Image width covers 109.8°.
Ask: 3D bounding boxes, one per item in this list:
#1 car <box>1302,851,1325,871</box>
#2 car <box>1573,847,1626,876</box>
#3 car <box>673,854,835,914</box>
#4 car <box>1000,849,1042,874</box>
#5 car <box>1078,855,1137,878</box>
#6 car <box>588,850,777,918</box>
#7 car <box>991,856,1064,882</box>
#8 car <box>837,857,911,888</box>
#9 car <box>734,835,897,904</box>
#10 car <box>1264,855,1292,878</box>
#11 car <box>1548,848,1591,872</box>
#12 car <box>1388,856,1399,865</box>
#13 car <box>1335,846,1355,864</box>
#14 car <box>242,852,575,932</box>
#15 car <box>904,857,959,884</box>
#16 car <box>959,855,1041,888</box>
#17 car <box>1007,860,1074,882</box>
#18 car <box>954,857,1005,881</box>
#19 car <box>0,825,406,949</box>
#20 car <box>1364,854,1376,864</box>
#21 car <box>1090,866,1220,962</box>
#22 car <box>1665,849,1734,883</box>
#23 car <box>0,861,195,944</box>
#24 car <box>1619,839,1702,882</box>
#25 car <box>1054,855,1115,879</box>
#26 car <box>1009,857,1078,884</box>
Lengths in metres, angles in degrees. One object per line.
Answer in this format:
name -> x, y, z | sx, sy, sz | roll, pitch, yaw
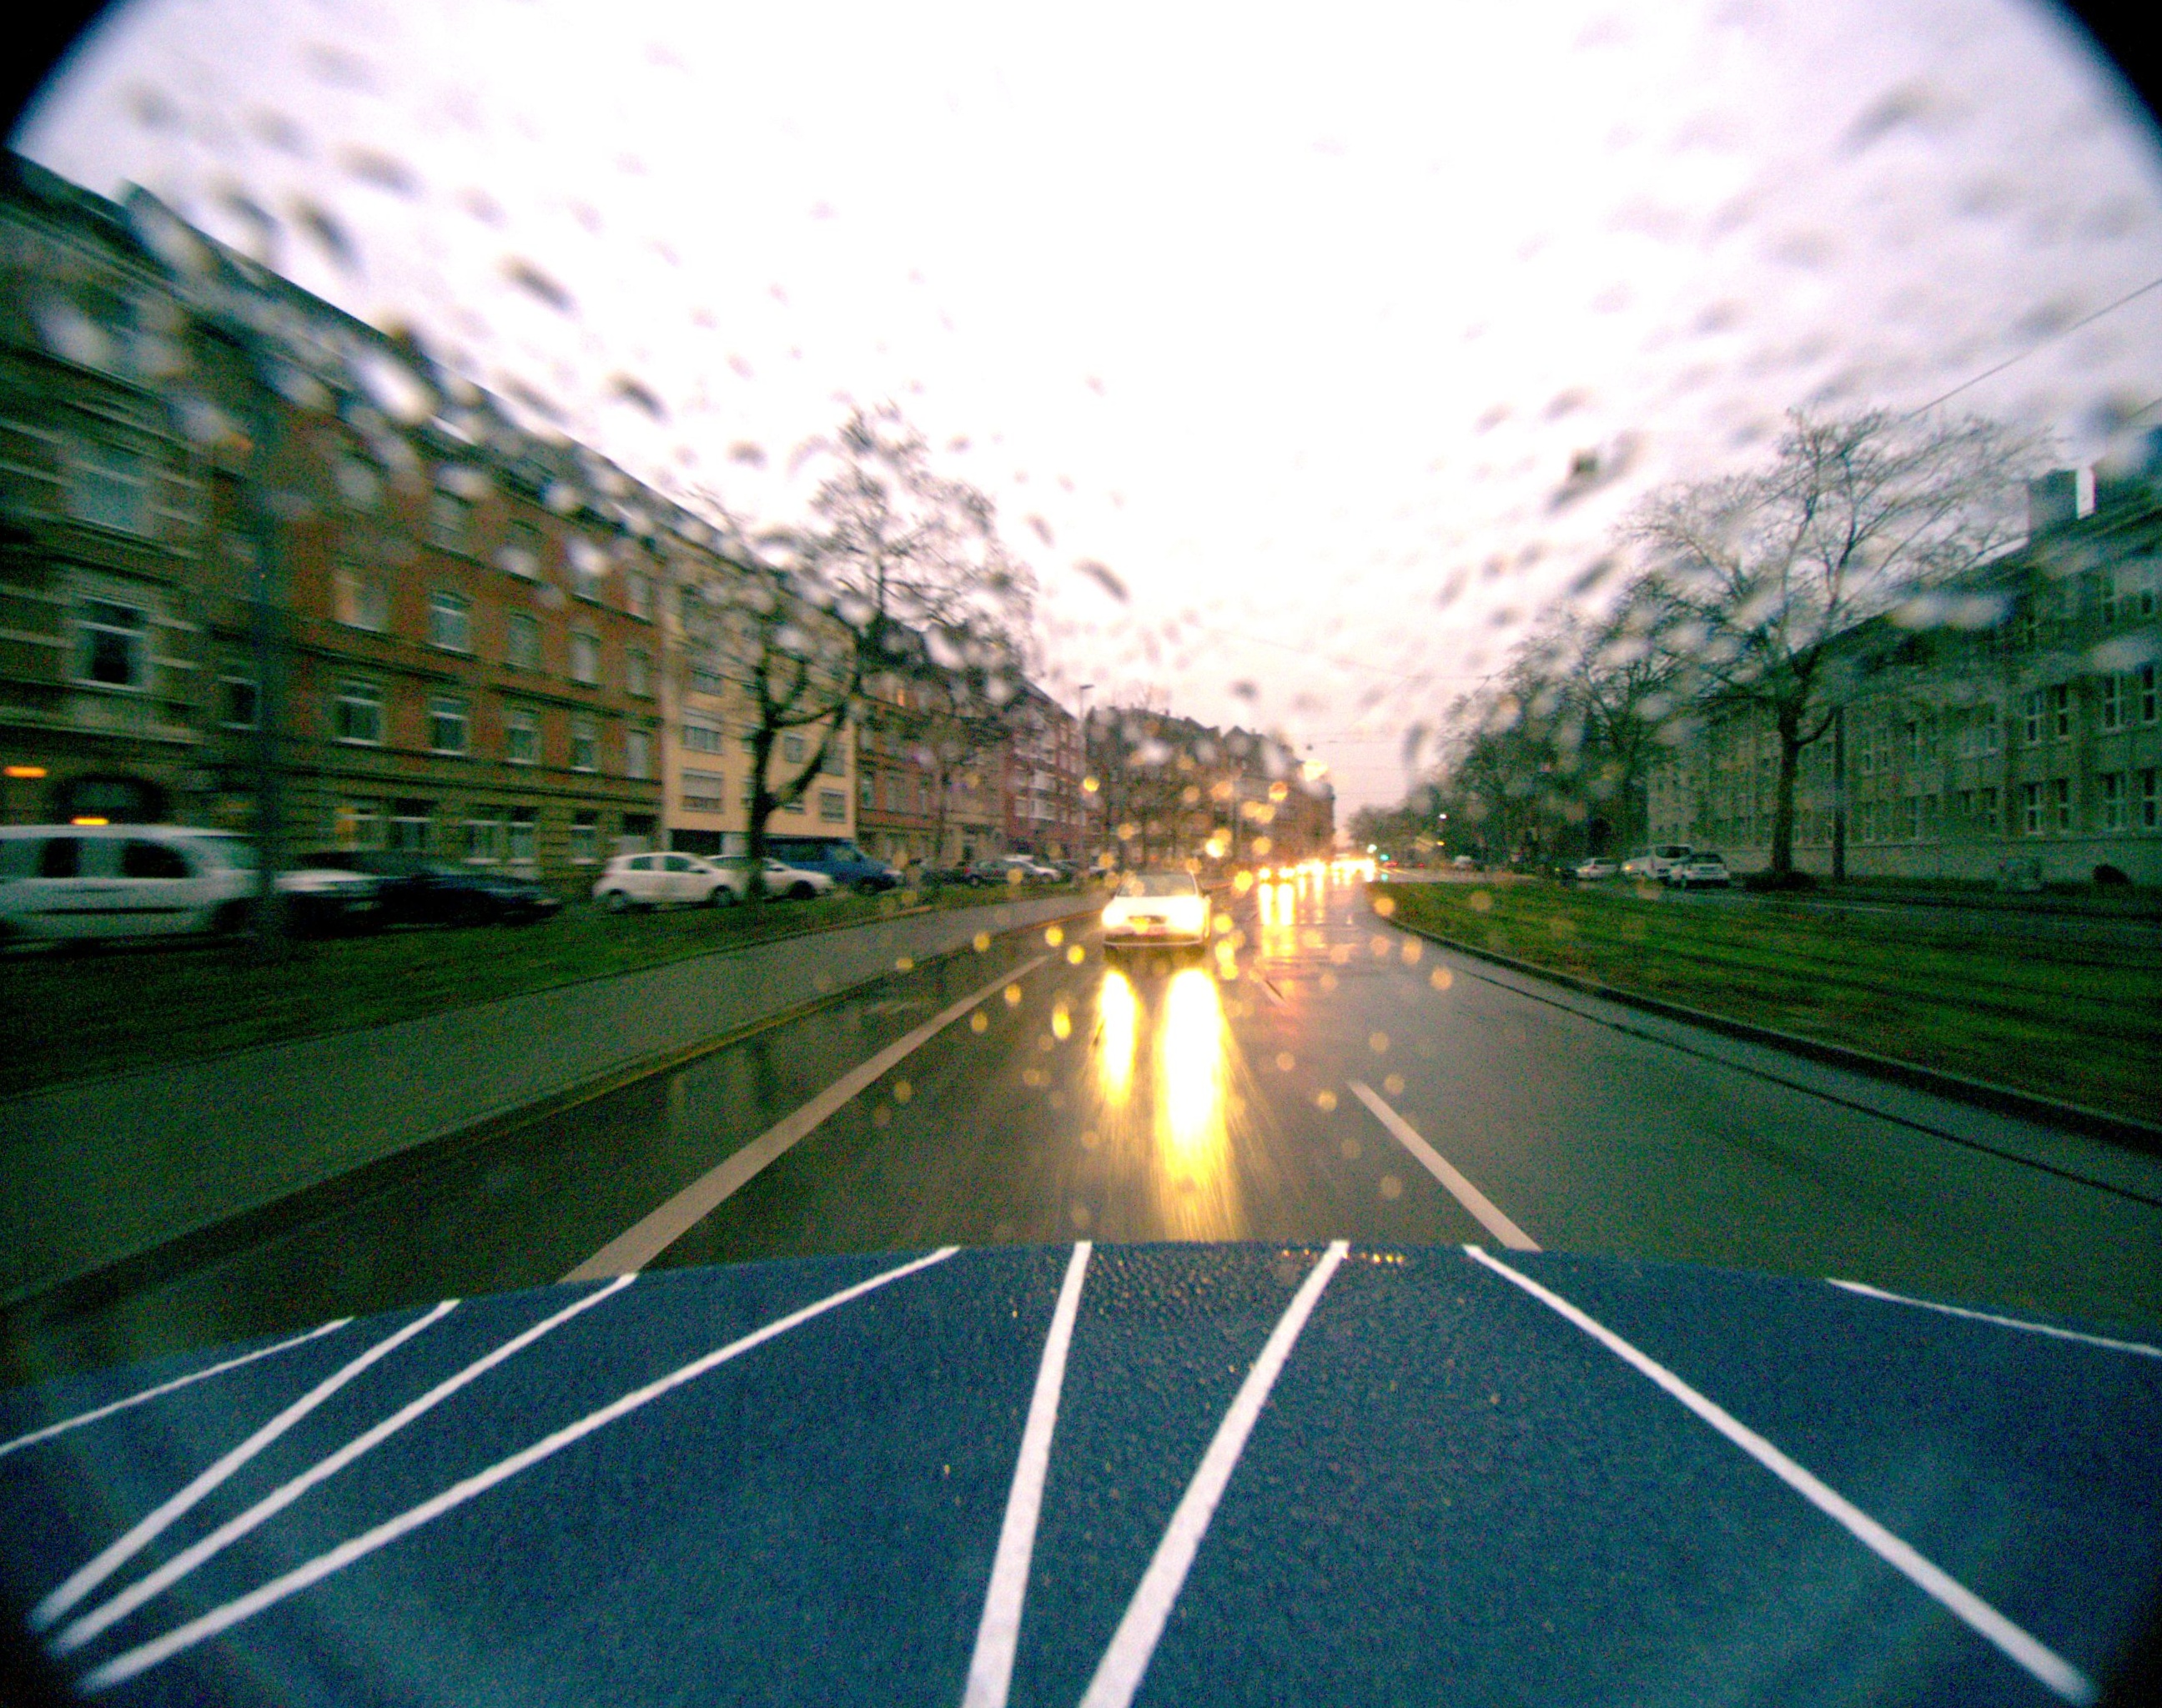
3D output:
car -> 21.009, 0.630, 68.578 | 1.672, 1.650, 4.153 | -3, 0, 20
car -> 32.941, 0.457, 48.376 | 1.824, 1.645, 3.864 | -3, 0, 19
car -> -9.162, 0.804, 21.617 | 4.002, 1.407, 1.639 | -3, 0, -17
car -> -4.611, 0.548, 58.446 | 1.671, 1.693, 3.471 | -3, 0, 24
car -> 1.769, 0.835, 51.169 | 3.765, 1.346, 1.601 | -2, 0, -4
car -> -9.903, 0.717, 19.144 | 3.774, 1.424, 1.760 | -3, 0, -7
car -> -2.818, 0.769, 40.307 | 3.765, 1.325, 1.601 | 0, 1, -4
car -> -11.404, 1.008, 42.115 | 1.748, 1.469, 4.183 | -3, 0, 21
car -> -8.480, 0.471, 24.587 | 4.726, 1.971, 1.796 | -2, 0, -17
car -> 12.593, 0.800, 48.575 | 1.587, 1.418, 3.138 | -1, 0, 17
car -> 35.045, 0.427, 54.623 | 1.613, 1.650, 3.615 | -1, 0, 15
car -> 67.962, 1.373, 165.127 | 1.949, 1.804, 4.007 | -1, 0, 27
car -> 36.225, 0.094, 104.287 | 2.126, 2.366, 5.647 | -2, 0, 23
car -> -11.686, 0.670, 13.506 | 4.064, 1.227, 1.769 | 2, -1, -10
car -> -9.209, 0.986, 47.050 | 1.470, 1.534, 3.878 | 0, 0, 22
car -> -4.008, 0.839, 37.450 | 3.874, 1.398, 1.693 | -3, 0, -9
car -> -2.438, 0.994, 45.311 | 3.767, 1.270, 1.600 | 0, 0, -10
car -> -7.070, 1.024, 53.189 | 1.690, 1.534, 4.006 | -2, 0, 22
car -> -12.920, 0.444, 10.806 | 4.665, 1.583, 1.775 | 1, 0, -12
car -> 51.049, 0.847, 134.112 | 1.646, 1.739, 3.561 | 0, 0, 27
car -> 1.502, 1.021, 14.118 | 1.713, 1.405, 3.683 | -3, 0, 16
car -> 28.049, 0.509, 34.535 | 1.557, 1.420, 2.959 | -1, 1, 21
car -> -20.445, 0.948, 14.587 | 1.734, 1.492, 4.056 | -3, -1, 17
car -> 29.445, 0.297, 38.802 | 1.996, 2.002, 4.515 | -3, 0, 19
car -> 0.194, 0.800, 48.372 | 3.765, 1.346, 1.601 | -2, 0, -4
car -> -2.104, 0.920, 42.571 | 3.765, 1.324, 1.601 | -2, 0, -4
